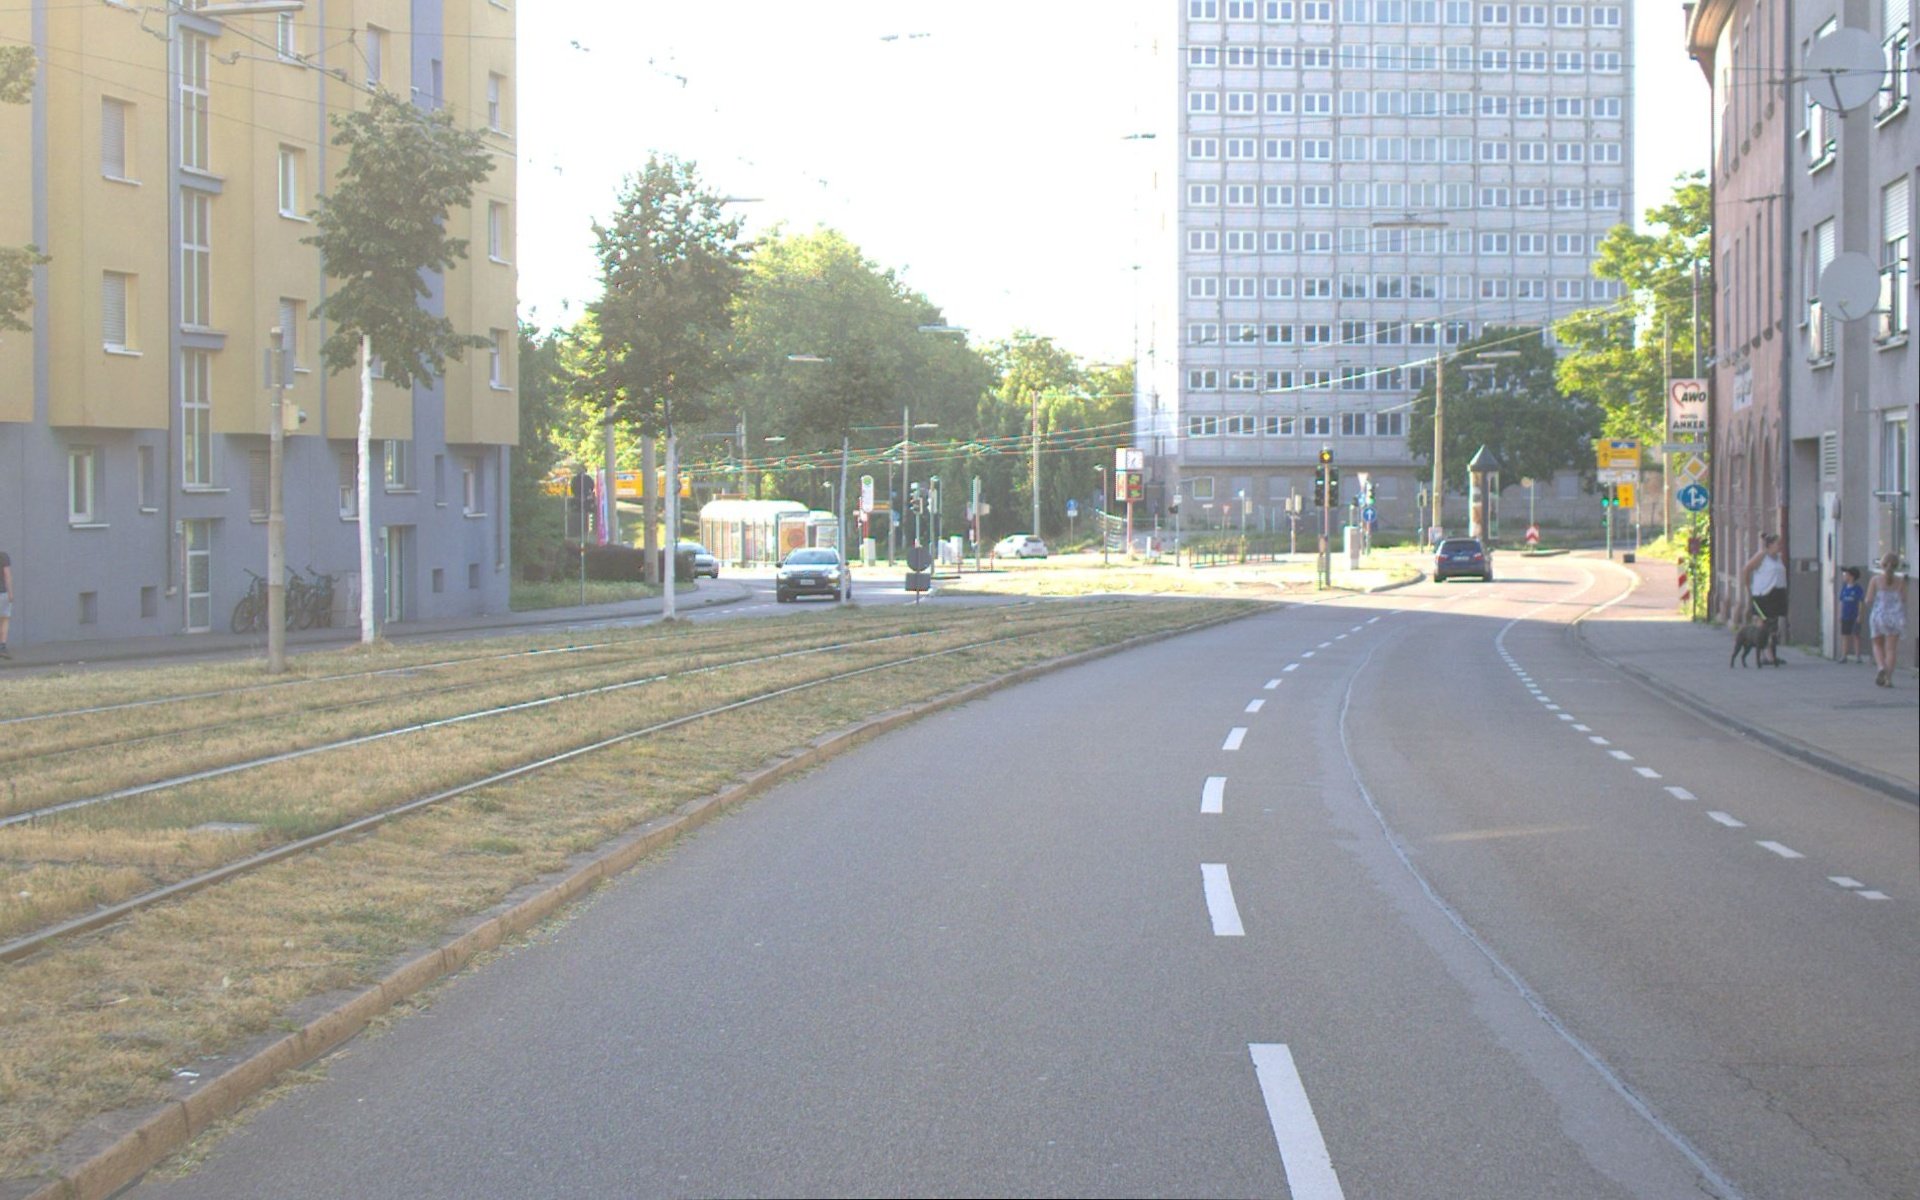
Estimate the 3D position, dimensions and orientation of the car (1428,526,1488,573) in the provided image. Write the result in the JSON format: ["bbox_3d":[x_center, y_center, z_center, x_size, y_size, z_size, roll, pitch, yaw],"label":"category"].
[{"bbox_3d":[15.960,-1.627,110.144,1.773,1.417,3.855,0,2,10],"label":"car"}]

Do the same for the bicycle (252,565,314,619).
[{"bbox_3d":[-12.455,-0.155,63.303,0.427,0.922,1.911,4,2,9],"label":"bicycle"}]

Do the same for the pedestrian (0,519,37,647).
[{"bbox_3d":[-13.681,-0.255,49.047,0.593,1.767,0.885,5,2,8],"label":"pedestrian"}]

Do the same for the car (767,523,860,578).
[{"bbox_3d":[-4.087,-1.384,96.543,1.794,1.464,4.794,-2,0,7],"label":"car"}]

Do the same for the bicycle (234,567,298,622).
[{"bbox_3d":[-12.508,-0.111,62.024,0.427,0.922,1.911,4,2,9],"label":"bicycle"}]

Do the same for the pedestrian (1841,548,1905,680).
[{"bbox_3d":[9.394,0.142,35.397,0.514,1.340,0.609,-1,0,4],"label":"pedestrian"}]

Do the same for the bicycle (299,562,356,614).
[{"bbox_3d":[-12.075,-0.241,65.681,0.427,0.956,1.911,0,1,9],"label":"bicycle"}]

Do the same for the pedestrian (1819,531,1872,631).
[{"bbox_3d":[11.261,-0.246,43.721,0.587,1.247,0.584,0,1,8],"label":"pedestrian"}]

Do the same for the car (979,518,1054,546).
[{"bbox_3d":[3.129,-3.795,190.983,1.994,1.525,3.999,-1,2,-40],"label":"car"}]

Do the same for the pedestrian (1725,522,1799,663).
[{"bbox_3d":[10.226,-0.110,43.846,0.830,1.765,0.995,0,2,8],"label":"pedestrian"}]
